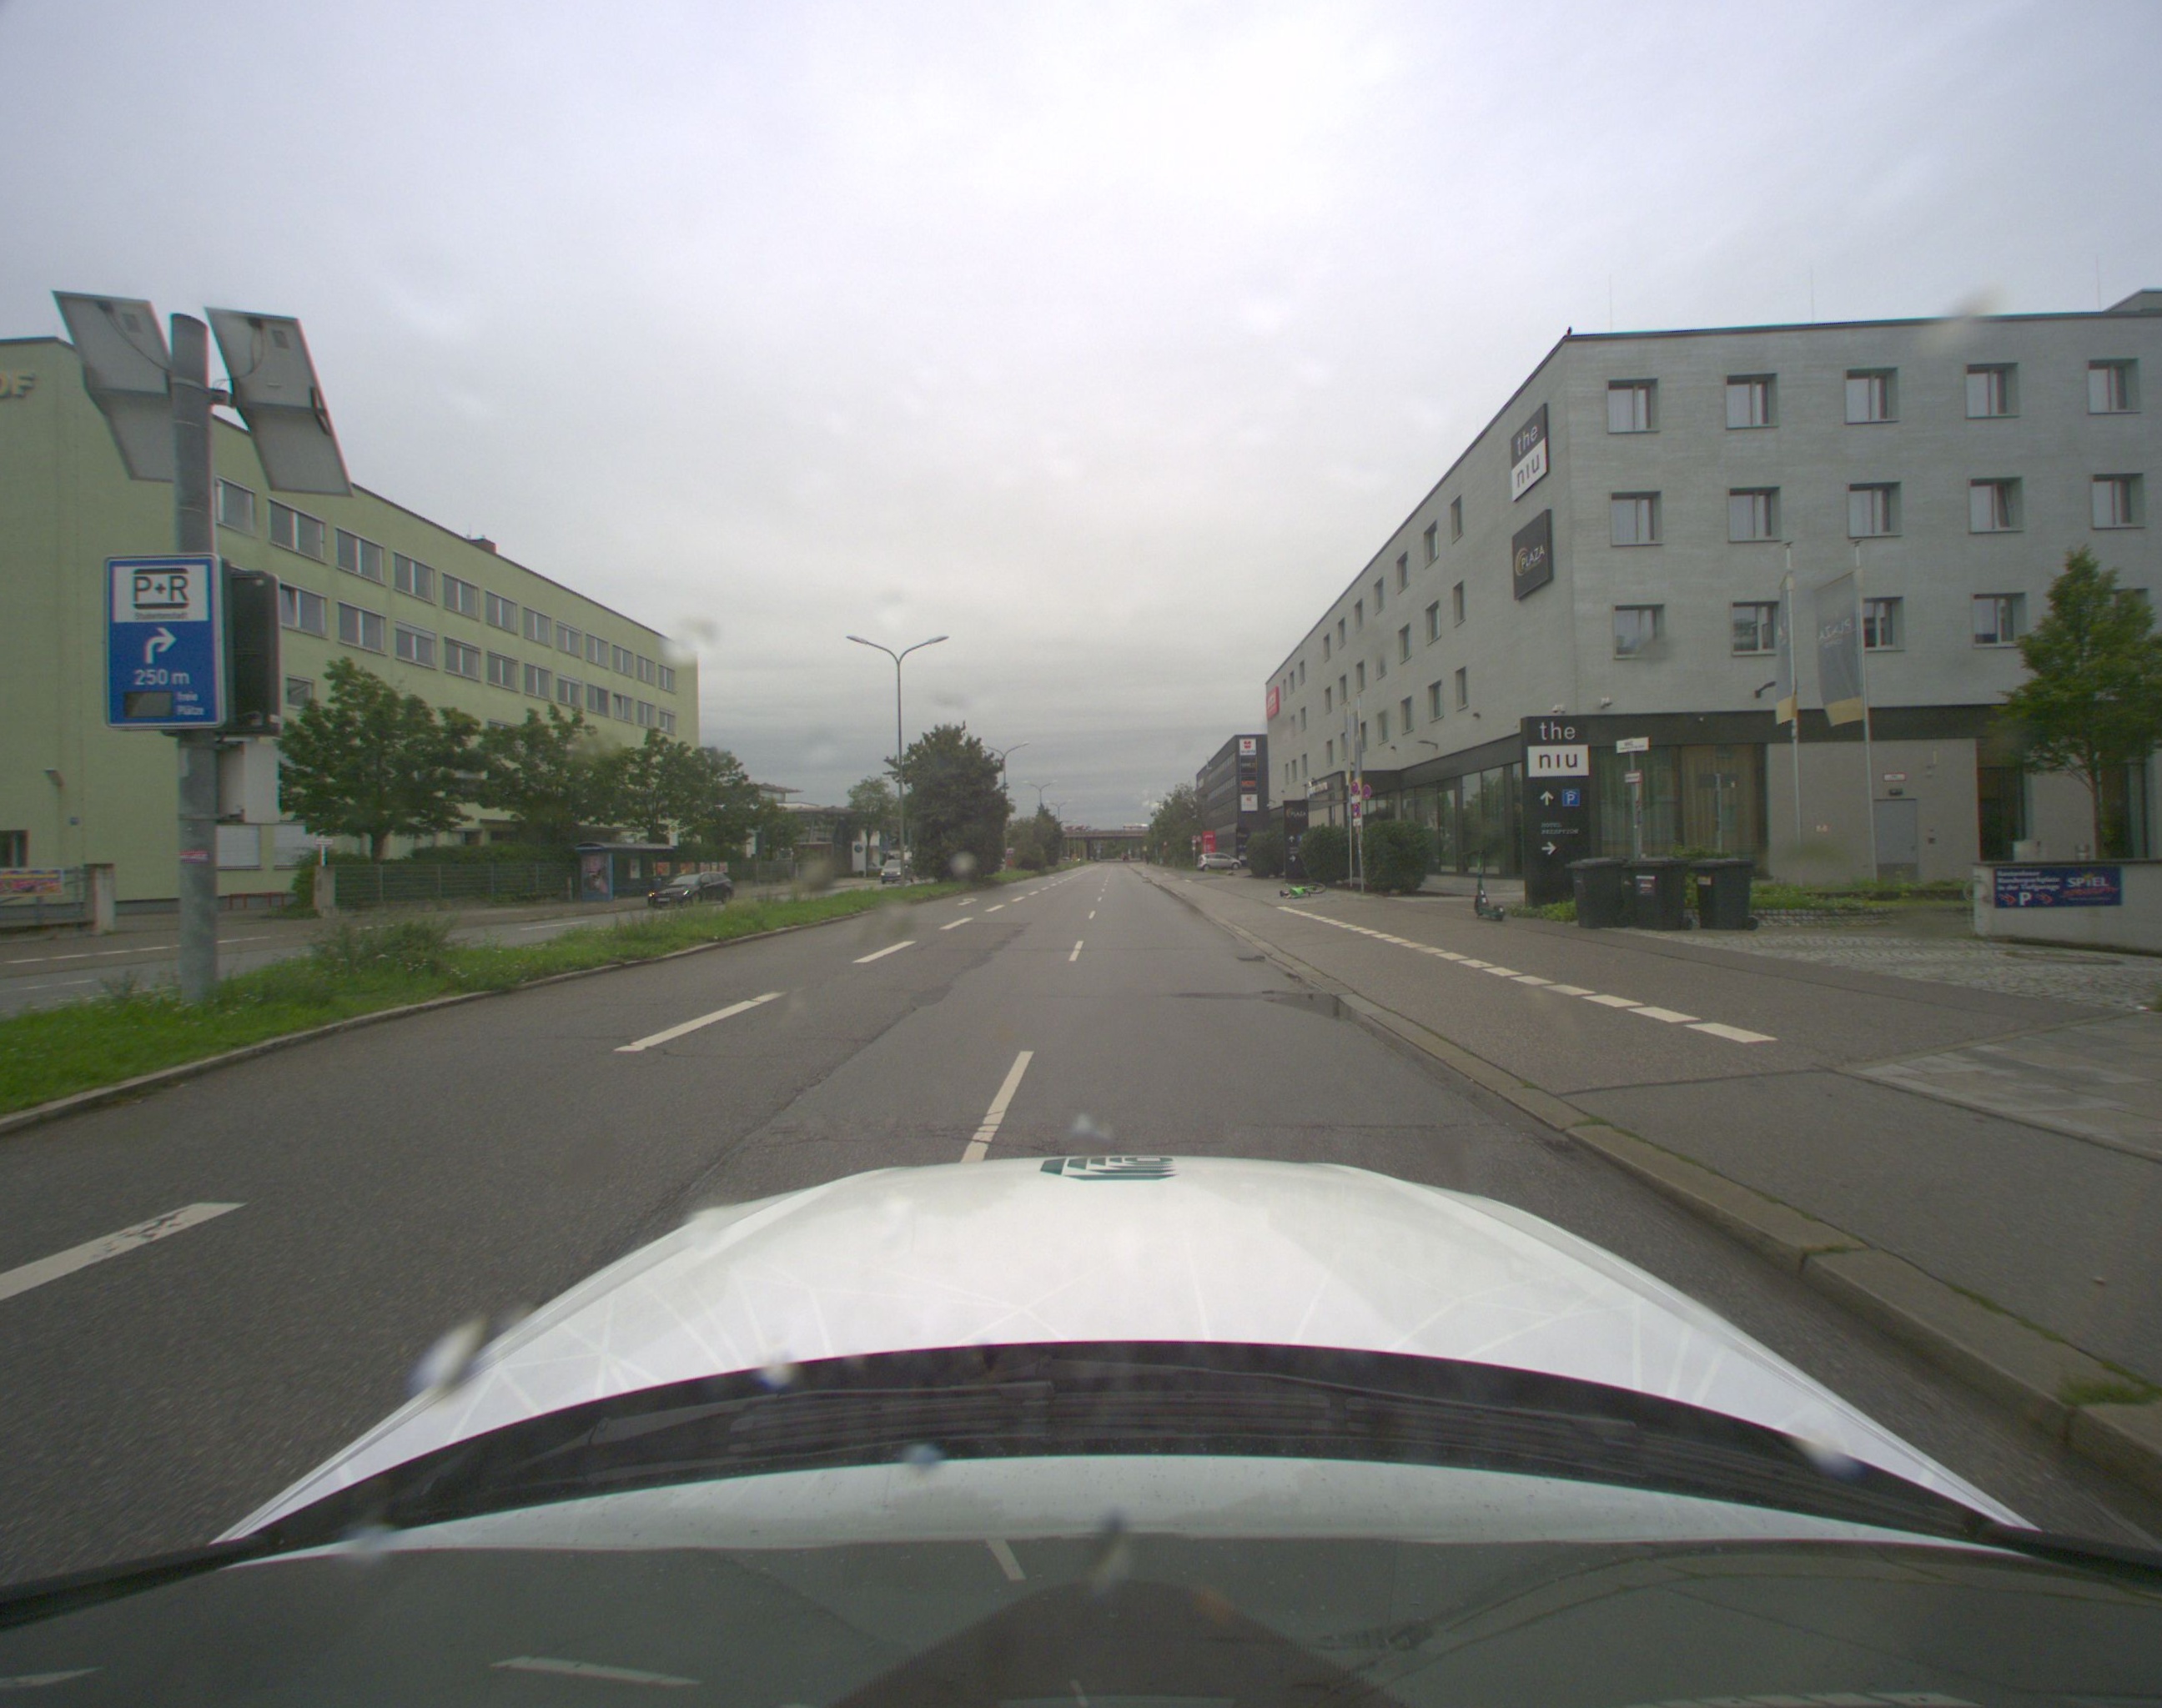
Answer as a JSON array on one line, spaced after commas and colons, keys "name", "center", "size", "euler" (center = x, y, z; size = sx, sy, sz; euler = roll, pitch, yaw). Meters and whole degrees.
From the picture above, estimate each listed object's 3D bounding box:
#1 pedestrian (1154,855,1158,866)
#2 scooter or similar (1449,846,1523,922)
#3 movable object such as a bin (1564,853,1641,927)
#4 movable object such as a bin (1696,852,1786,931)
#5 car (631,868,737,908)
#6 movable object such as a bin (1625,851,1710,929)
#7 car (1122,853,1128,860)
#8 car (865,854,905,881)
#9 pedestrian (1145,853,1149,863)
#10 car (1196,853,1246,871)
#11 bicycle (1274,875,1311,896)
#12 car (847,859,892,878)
[{"name": "pedestrian", "center": [13.429, 1.169, 146.199], "size": [0.686, 1.876, 0.662], "euler": [-3, -1, 2]}, {"name": "scooter or similar", "center": [7.413, 0.522, 14.985], "size": [0.583, 1.277, 1.405], "euler": [-6, -1, 3]}, {"name": "movable object such as a bin", "center": [8.039, 0.544, 12.570], "size": [0.734, 1.078, 0.656], "euler": [-3, 0, 2]}, {"name": "movable object such as a bin", "center": [9.570, 0.535, 11.828], "size": [0.734, 1.078, 0.656], "euler": [-3, 0, 2]}, {"name": "car", "center": [-16.372, 1.372, 33.917], "size": [1.986, 1.401, 4.655], "euler": [-3, 0, 1]}, {"name": "movable object such as a bin", "center": [8.577, 0.514, 11.931], "size": [0.734, 1.078, 0.656], "euler": [-3, 0, 2]}, {"name": "car", "center": [13.612, 0.785, 249.386], "size": [1.804, 2.013, 3.837], "euler": [0, 0, 4]}, {"name": "car", "center": [-15.422, 1.051, 64.350], "size": [1.986, 1.961, 4.325], "euler": [-3, 0, 1]}, {"name": "pedestrian", "center": [12.573, 0.787, 155.296], "size": [0.686, 1.876, 0.662], "euler": [-3, -1, 2]}, {"name": "car", "center": [12.281, 0.672, 71.430], "size": [4.005, 1.557, 1.818], "euler": [-1, 0, -4]}, {"name": "bicycle", "center": [6.558, 0.976, 25.350], "size": [0.717, 0.548, 1.733], "euler": [-5, 0, 2]}, {"name": "car", "center": [-23.966, 1.643, 92.203], "size": [4.649, 1.842, 1.788], "euler": [-3, 0, -21]}]
